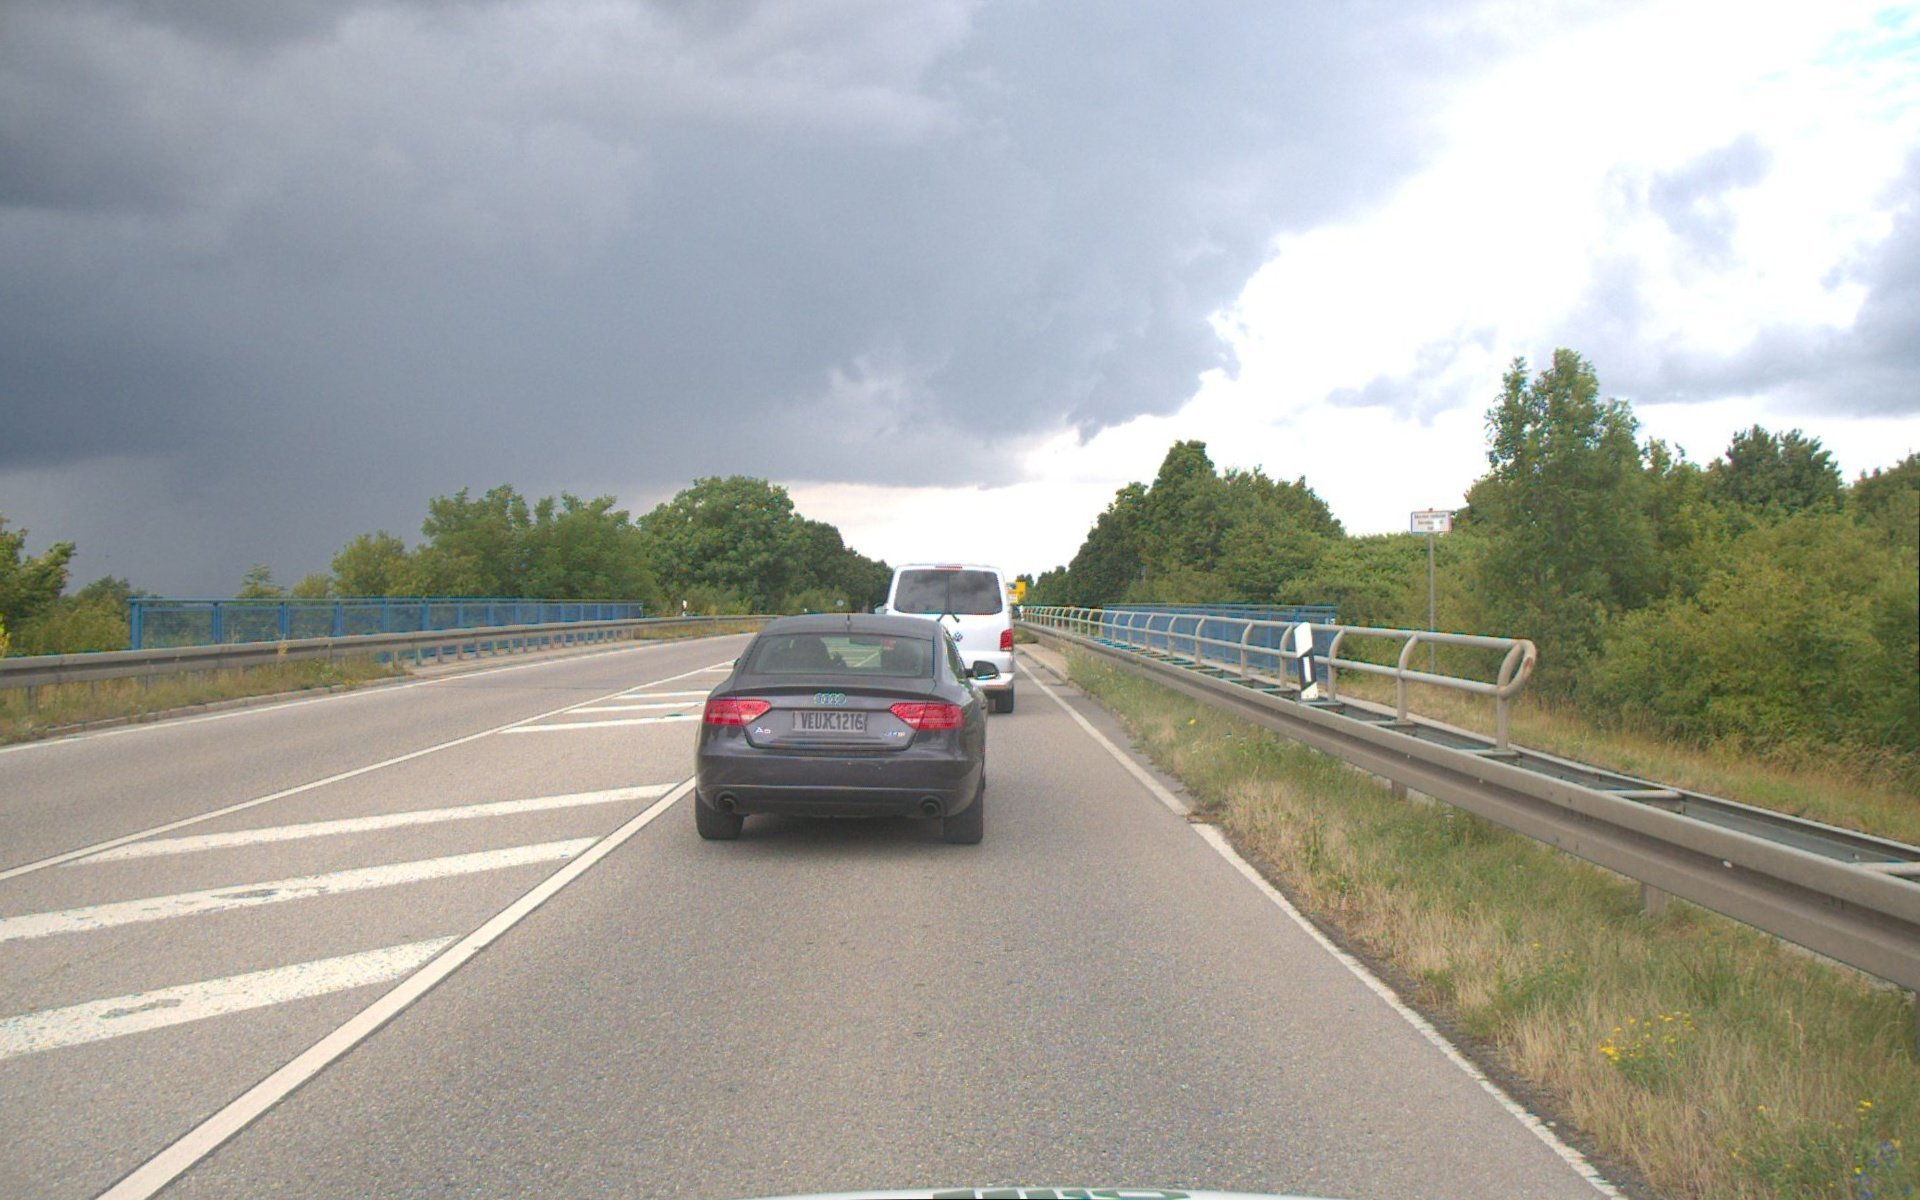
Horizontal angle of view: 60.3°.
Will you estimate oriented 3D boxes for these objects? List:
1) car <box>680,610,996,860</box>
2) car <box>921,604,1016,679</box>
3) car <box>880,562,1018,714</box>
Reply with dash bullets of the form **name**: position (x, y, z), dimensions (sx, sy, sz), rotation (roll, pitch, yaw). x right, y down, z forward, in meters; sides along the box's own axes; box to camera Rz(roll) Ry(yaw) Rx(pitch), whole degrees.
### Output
- **car**: position (-0.661, 0.771, 11.357), dimensions (1.784, 1.405, 4.072), rotation (0, 0, 1)
- **car**: position (0.182, 0.791, 33.133), dimensions (1.784, 1.405, 4.072), rotation (0, 0, 1)
- **car**: position (-0.160, 0.499, 23.410), dimensions (1.791, 1.969, 3.999), rotation (0, 0, -1)
